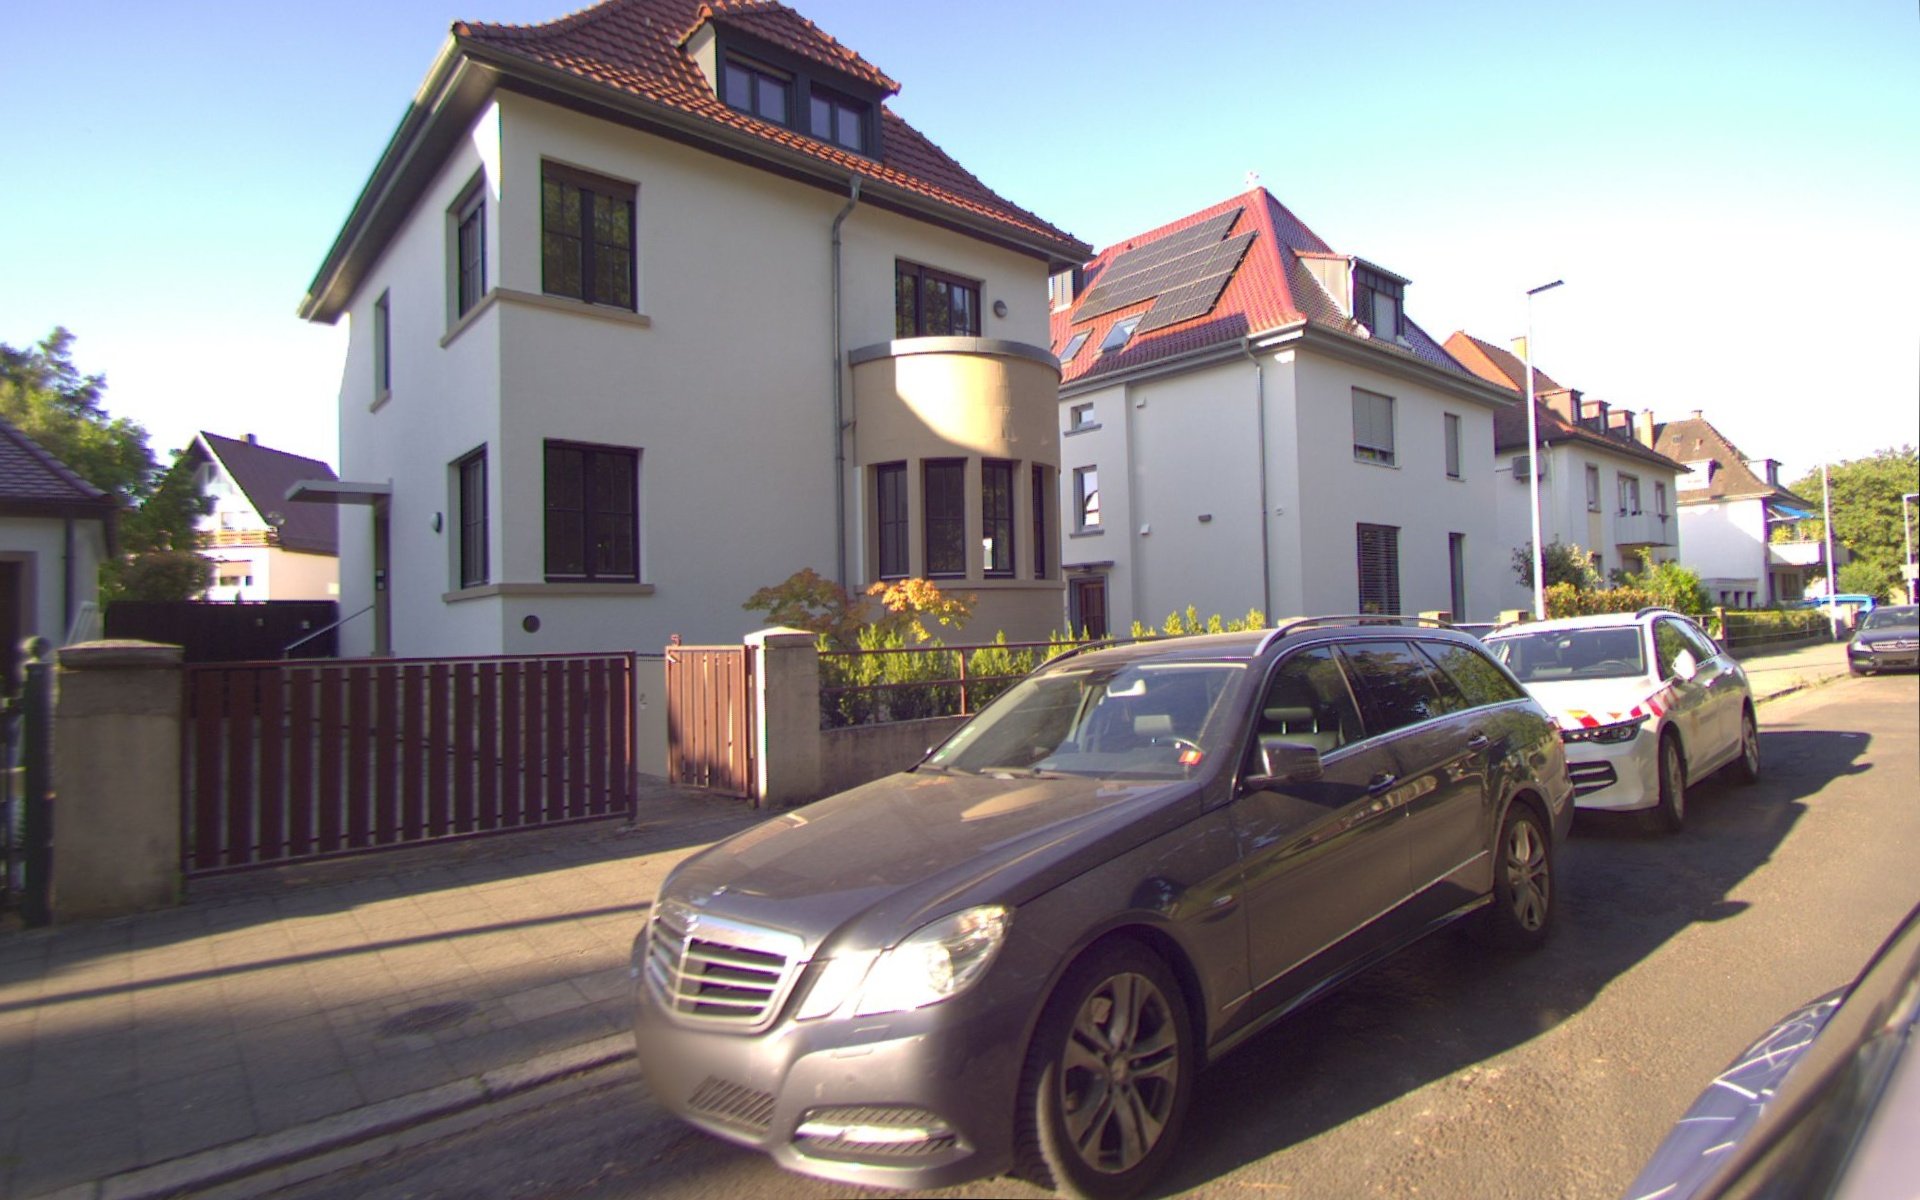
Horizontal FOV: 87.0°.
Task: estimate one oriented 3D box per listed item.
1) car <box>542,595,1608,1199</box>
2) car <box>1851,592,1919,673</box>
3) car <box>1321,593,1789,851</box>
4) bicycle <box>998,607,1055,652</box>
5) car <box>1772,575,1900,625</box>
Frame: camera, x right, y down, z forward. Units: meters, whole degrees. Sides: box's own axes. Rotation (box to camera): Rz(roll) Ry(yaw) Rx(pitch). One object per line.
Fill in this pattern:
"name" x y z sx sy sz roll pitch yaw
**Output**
"car" 0.885 0.833 4.233 4.514 1.482 1.781 -1 -5 -41
"car" 20.179 0.588 21.139 4.323 1.519 1.781 -1 -5 -43
"car" 5.024 0.813 8.251 4.474 1.483 1.994 -1 -6 -43
"bicycle" 1.786 0.813 27.331 0.399 1.156 1.722 0 -3 -42
"car" 38.156 0.024 44.154 1.967 1.953 3.989 0 -3 -44
